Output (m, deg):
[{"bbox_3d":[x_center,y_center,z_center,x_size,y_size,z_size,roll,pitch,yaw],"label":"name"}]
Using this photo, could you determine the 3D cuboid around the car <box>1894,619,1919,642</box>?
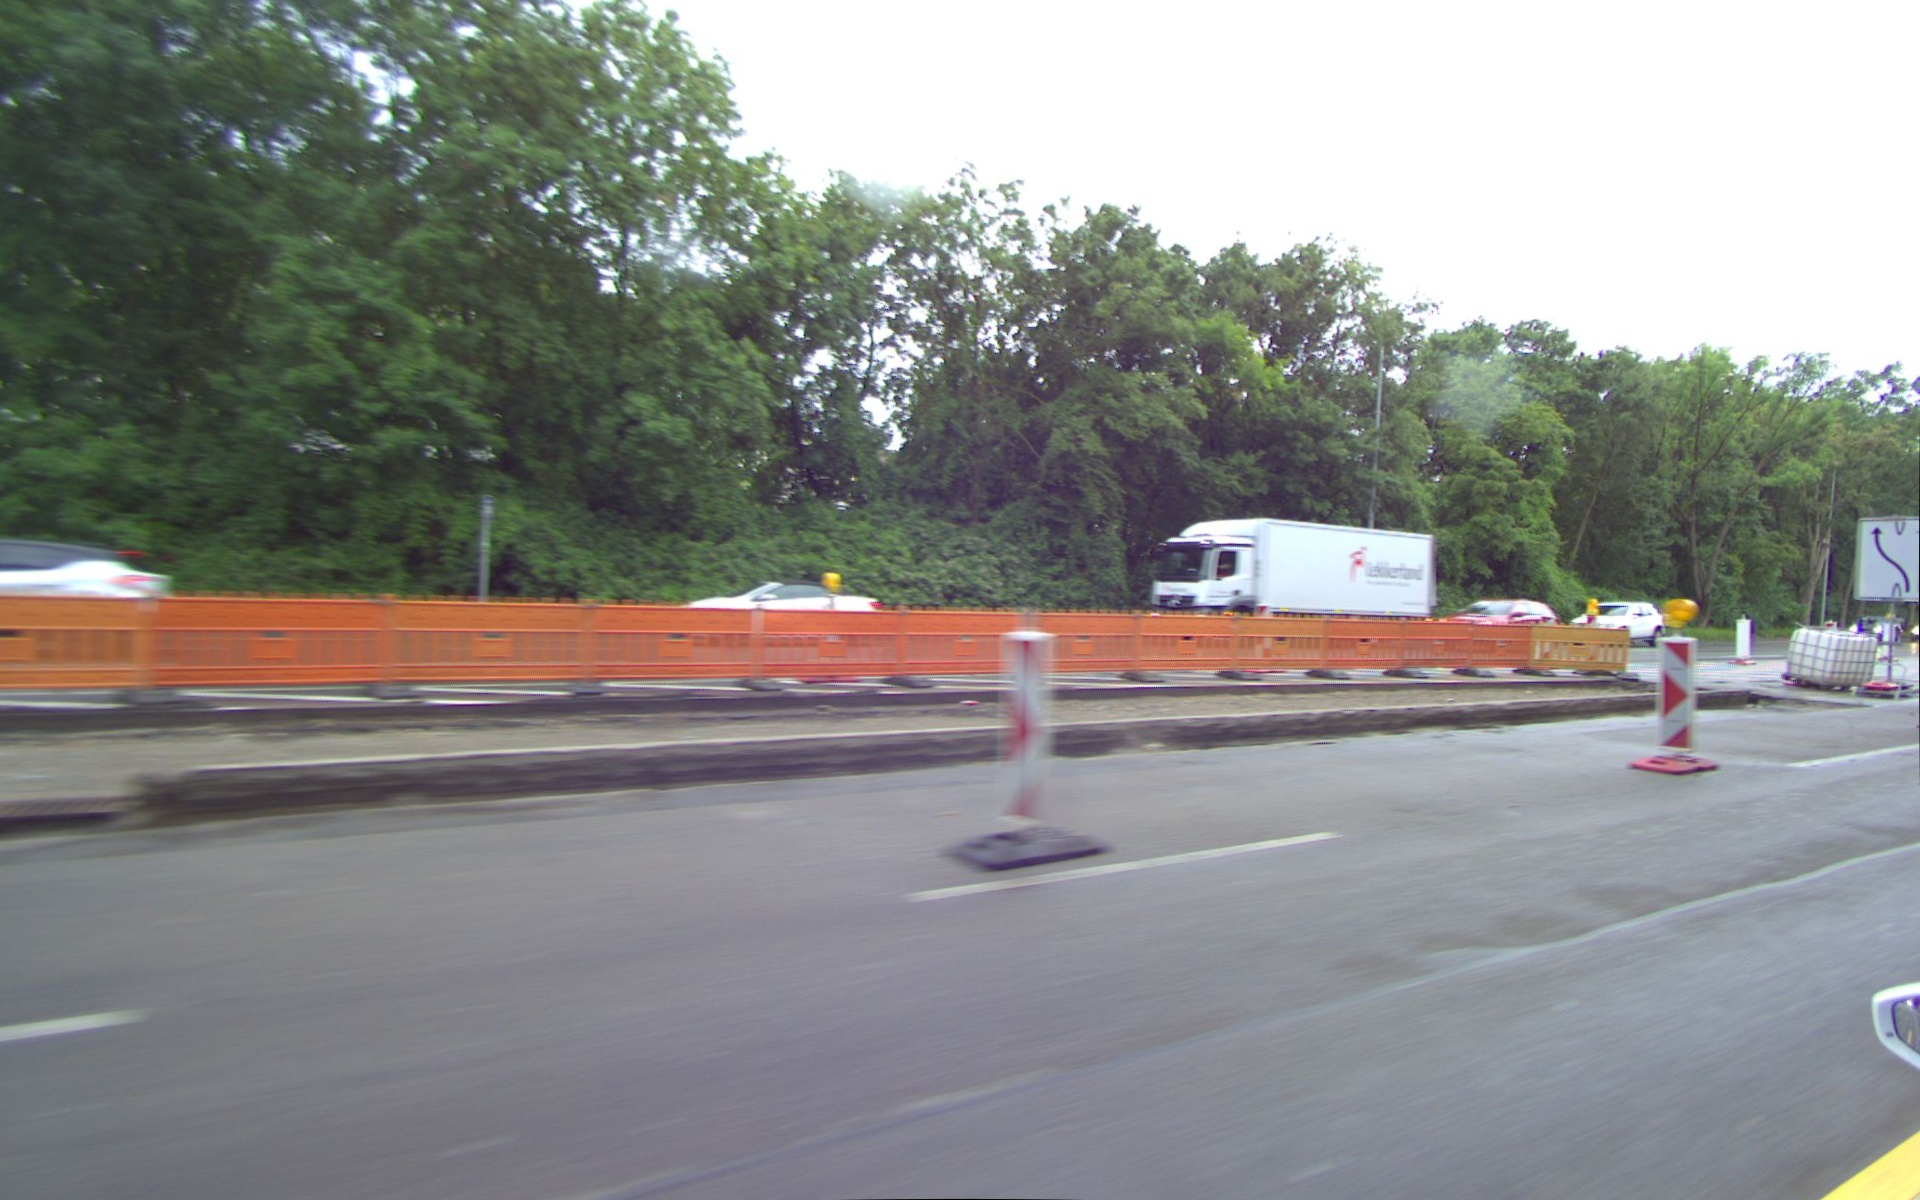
[{"bbox_3d":[63.500,2.011,66.594,3.501,1.476,1.516,1,-1,-33],"label":"car"}]

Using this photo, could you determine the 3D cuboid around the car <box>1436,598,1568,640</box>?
[{"bbox_3d":[16.763,0.593,31.003,4.232,1.168,1.597,1,1,-30],"label":"car"}]

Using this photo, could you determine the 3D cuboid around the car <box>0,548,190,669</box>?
[{"bbox_3d":[-13.191,0.083,13.711,3.992,1.571,1.826,1,1,-30],"label":"car"}]

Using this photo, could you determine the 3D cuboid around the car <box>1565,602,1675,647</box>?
[{"bbox_3d":[26.720,1.005,40.631,4.664,1.746,1.836,1,-2,-30],"label":"car"}]

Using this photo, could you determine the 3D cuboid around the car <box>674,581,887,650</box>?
[{"bbox_3d":[-3.958,0.352,22.377,4.317,1.397,1.801,1,1,-30],"label":"car"}]

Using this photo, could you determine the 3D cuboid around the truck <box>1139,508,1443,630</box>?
[{"bbox_3d":[10.294,-0.808,30.654,10.027,3.190,2.782,1,1,-30],"label":"truck"}]

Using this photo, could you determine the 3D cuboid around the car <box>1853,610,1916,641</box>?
[{"bbox_3d":[53.488,1.476,58.117,4.153,1.669,1.626,1,0,-32],"label":"car"}]
